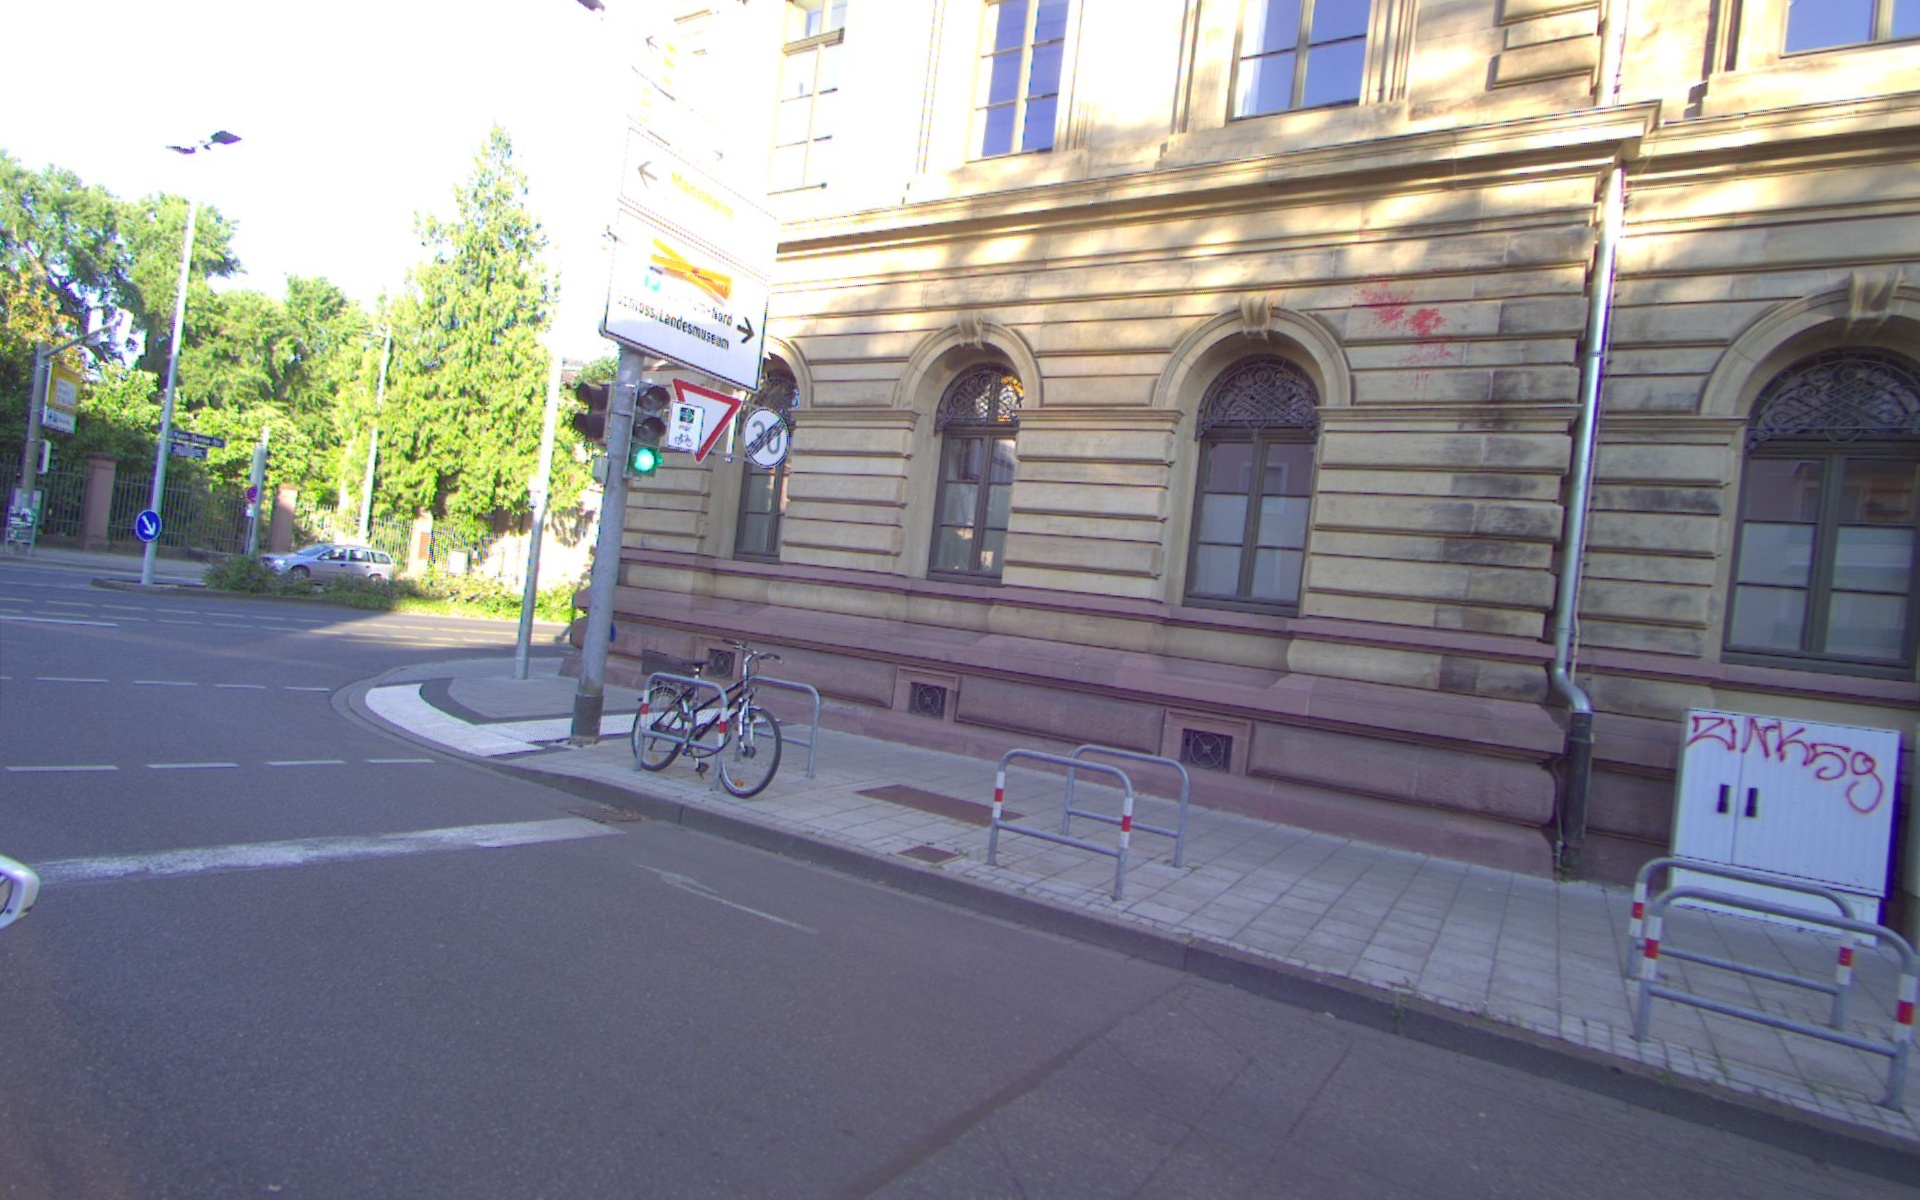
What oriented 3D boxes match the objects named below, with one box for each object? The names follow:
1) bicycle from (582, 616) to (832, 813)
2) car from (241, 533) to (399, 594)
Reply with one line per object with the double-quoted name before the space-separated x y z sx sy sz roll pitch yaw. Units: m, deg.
"bicycle" -1.941 0.808 7.586 1.889 1.202 0.583 5 -1 32
"car" -21.800 -1.207 34.461 1.685 1.462 4.196 7 -1 27
